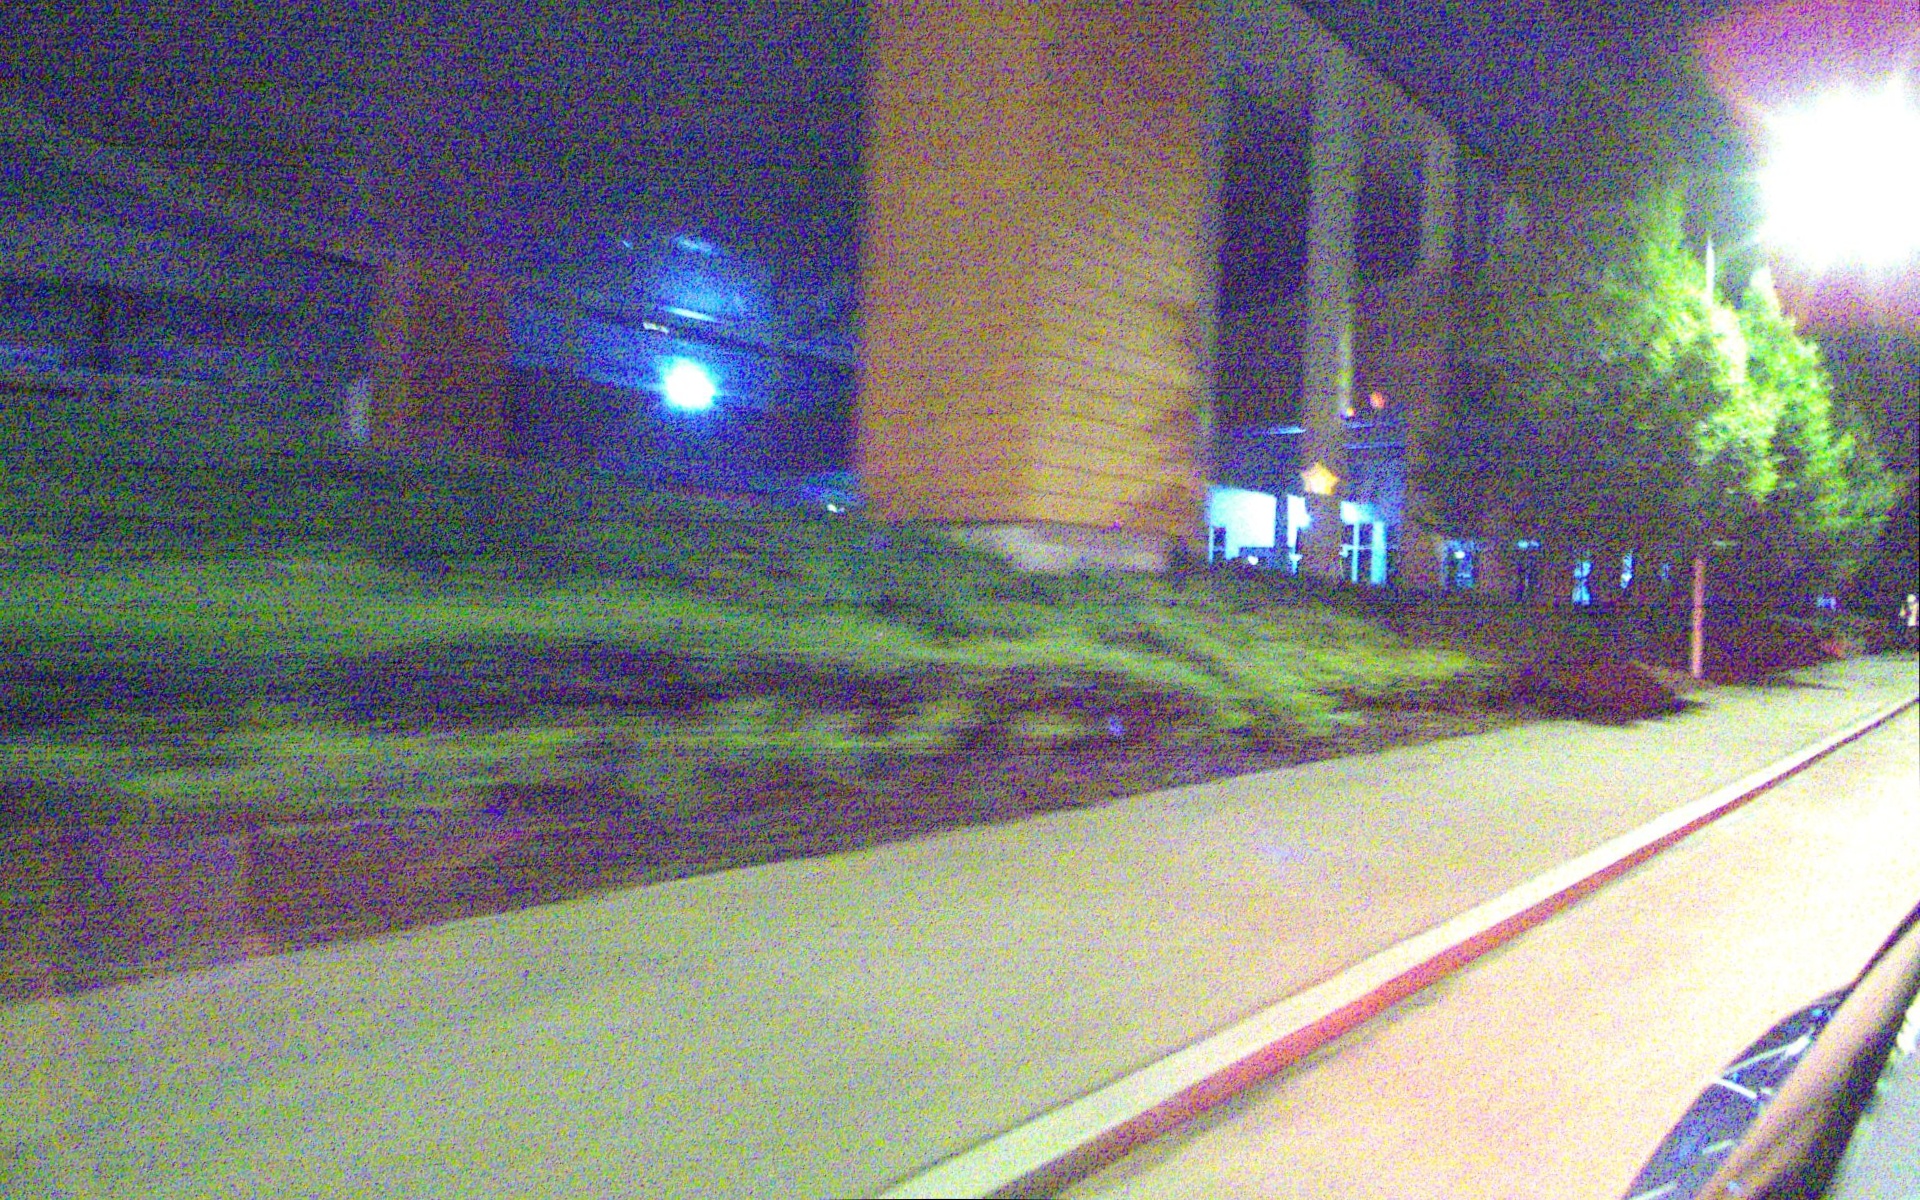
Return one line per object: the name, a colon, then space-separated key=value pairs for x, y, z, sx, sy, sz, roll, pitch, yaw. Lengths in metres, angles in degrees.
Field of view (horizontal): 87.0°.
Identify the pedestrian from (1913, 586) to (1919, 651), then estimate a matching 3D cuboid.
pedestrian: x=28.223 y=0.535 z=29.442 sx=0.805 sy=1.875 sz=0.571 roll=1 pitch=2 yaw=-40
